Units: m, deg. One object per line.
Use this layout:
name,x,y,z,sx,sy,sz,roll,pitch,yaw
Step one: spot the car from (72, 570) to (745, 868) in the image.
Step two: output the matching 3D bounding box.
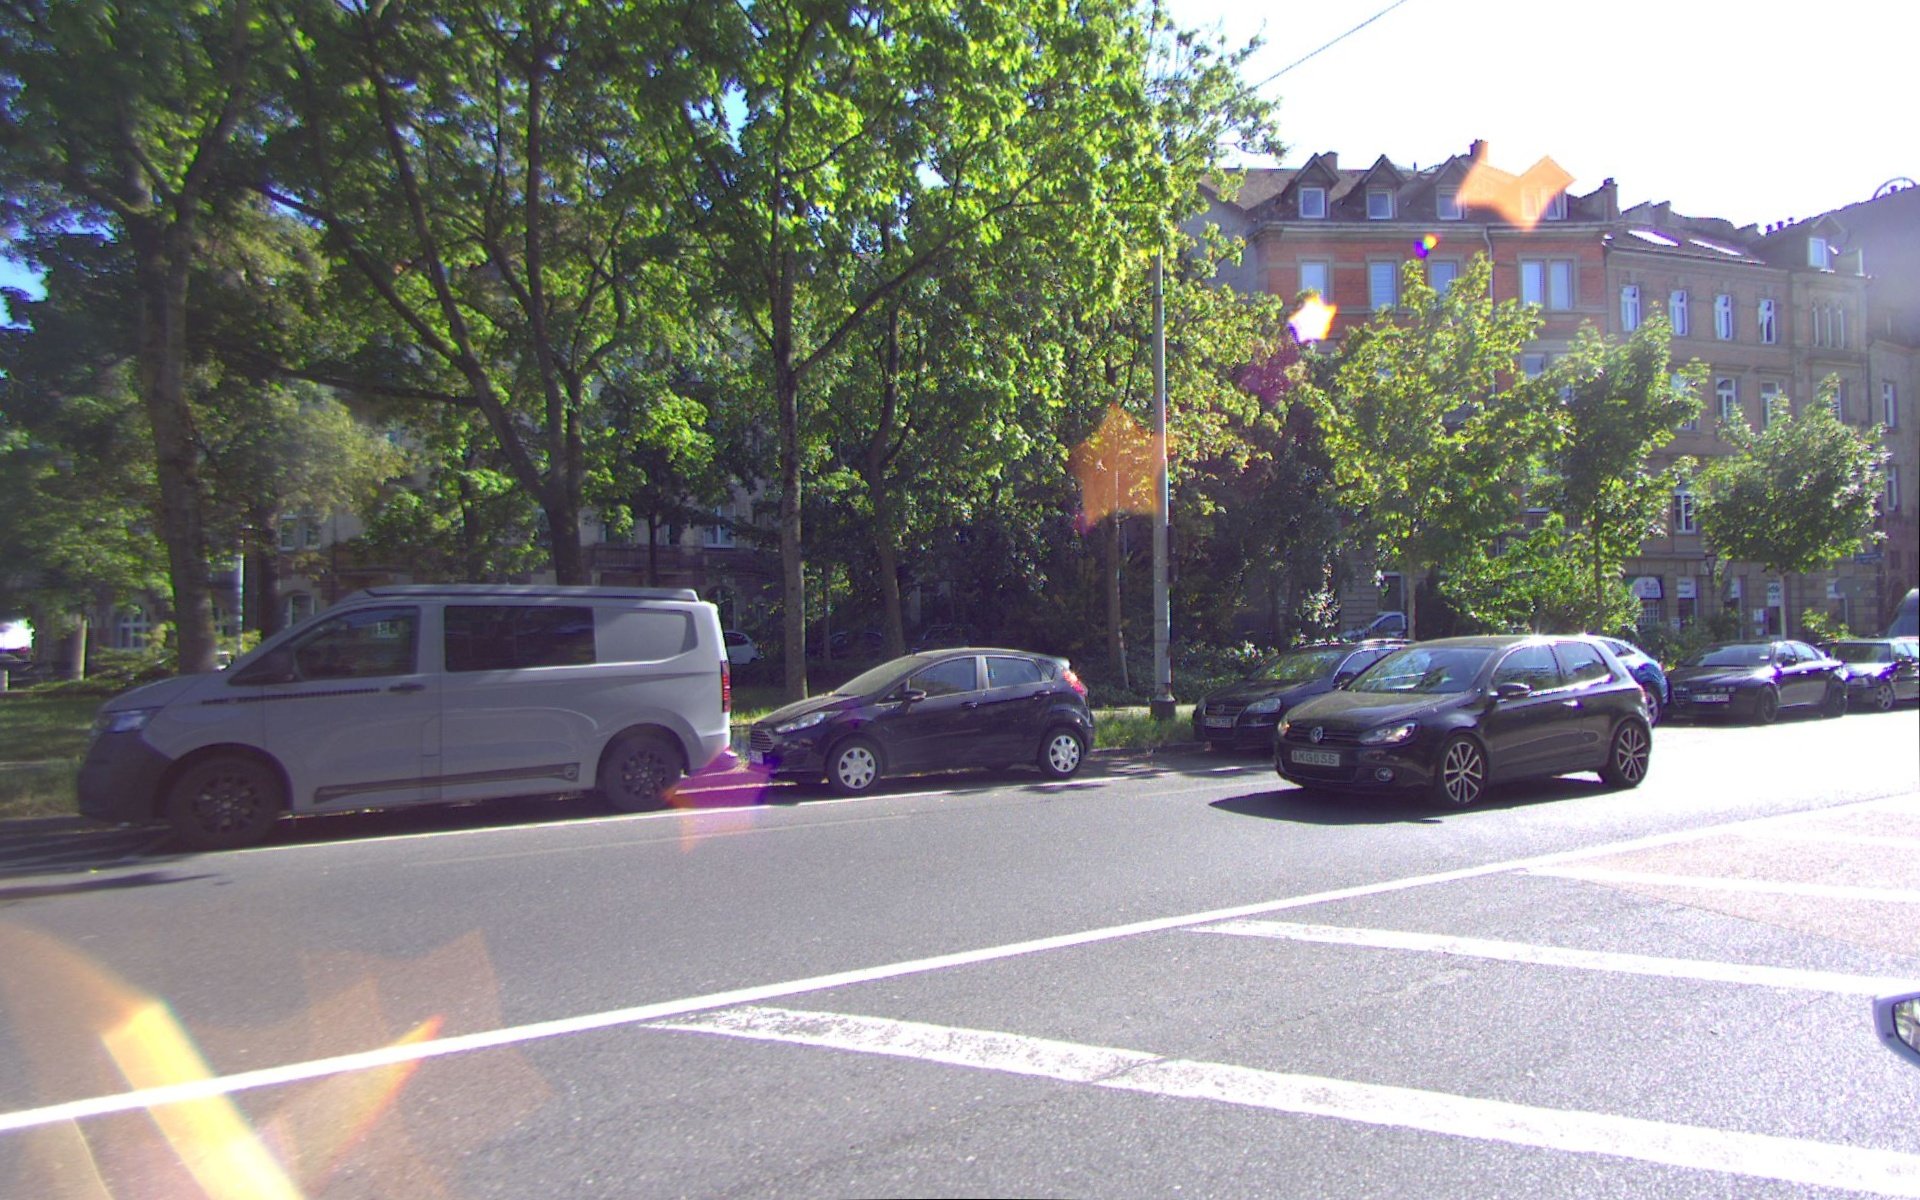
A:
car,-4.603,0.930,9.107,4.820,2.062,1.974,1,-5,-32

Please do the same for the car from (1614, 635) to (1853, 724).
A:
car,14.203,1.413,18.408,4.349,1.431,1.774,1,-4,-28

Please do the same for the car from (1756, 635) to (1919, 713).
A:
car,18.806,1.507,20.965,4.604,1.475,1.688,1,-4,-28

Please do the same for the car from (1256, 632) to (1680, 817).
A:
car,4.971,1.064,9.729,4.081,1.469,1.587,1,-3,-28

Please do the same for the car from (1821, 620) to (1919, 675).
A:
car,32.239,1.614,34.213,4.070,1.692,1.996,1,1,30

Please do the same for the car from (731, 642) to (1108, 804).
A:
car,-0.405,1.250,11.046,3.908,1.521,1.459,1,-4,-28

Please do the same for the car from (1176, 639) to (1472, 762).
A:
car,5.159,1.338,14.076,4.223,1.501,1.583,2,-4,-31

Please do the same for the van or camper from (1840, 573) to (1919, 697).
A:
van or camper,24.005,0.829,24.186,6.011,2.775,2.208,1,-2,-28

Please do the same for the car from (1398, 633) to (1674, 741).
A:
car,9.502,1.342,16.504,4.500,1.558,1.774,1,-2,-27

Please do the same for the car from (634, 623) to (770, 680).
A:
car,-7.210,1.494,28.457,1.565,1.446,4.181,-4,-5,22

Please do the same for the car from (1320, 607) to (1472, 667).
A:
car,14.813,1.290,34.271,4.366,1.938,1.865,1,-4,-3
